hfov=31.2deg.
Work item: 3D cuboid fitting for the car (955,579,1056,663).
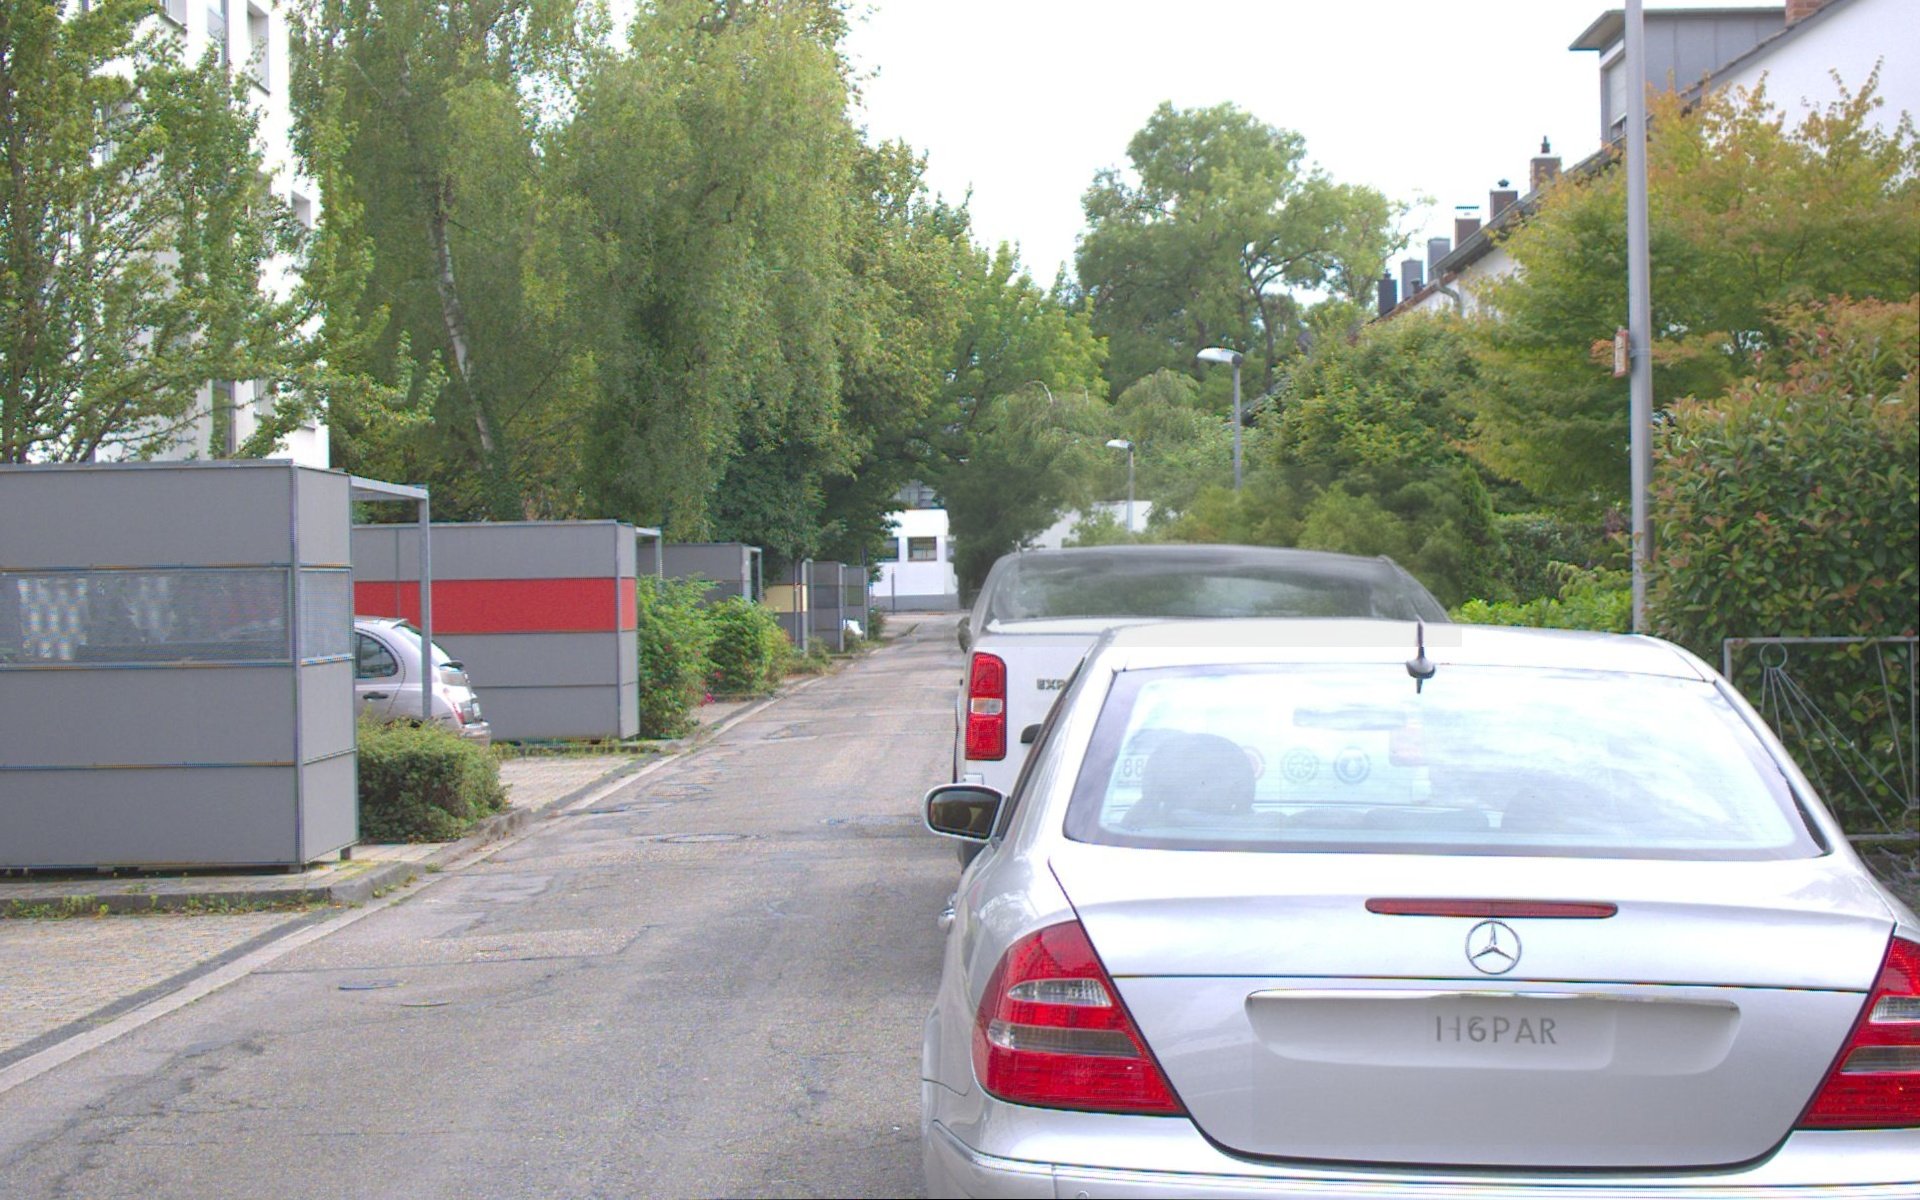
[{"bbox_3d":[0.864,0.389,67.311,1.825,1.576,4.000,1,0,-1],"label":"car"}]

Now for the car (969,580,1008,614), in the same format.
[{"bbox_3d":[1.397,-0.159,165.554,1.825,1.576,4.000,1,0,1],"label":"car"}]

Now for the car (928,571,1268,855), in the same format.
[{"bbox_3d":[0.778,0.648,21.913,1.824,1.630,4.162,0,0,-2],"label":"car"}]

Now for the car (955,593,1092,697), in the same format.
[{"bbox_3d":[0.896,0.600,48.696,1.825,1.366,4.330,1,0,1],"label":"car"}]

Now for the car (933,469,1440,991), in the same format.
[{"bbox_3d":[0.848,0.482,15.618,1.903,1.958,5.253,0,0,0],"label":"car"}]

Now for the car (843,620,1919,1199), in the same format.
[{"bbox_3d":[0.801,0.775,7.181,1.783,1.416,4.455,0,0,2],"label":"car"}]

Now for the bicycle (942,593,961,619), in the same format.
[{"bbox_3d":[-0.375,0.273,151.260,0.689,1.127,2.579,1,0,3],"label":"bicycle"}]

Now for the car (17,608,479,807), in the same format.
[{"bbox_3d":[-5.941,0.881,28.984,3.561,1.475,1.711,-2,0,-4],"label":"car"}]

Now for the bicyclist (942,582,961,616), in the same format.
[{"bbox_3d":[-0.368,-0.035,151.383,0.798,1.506,0.934,1,0,3],"label":"bicyclist"}]
